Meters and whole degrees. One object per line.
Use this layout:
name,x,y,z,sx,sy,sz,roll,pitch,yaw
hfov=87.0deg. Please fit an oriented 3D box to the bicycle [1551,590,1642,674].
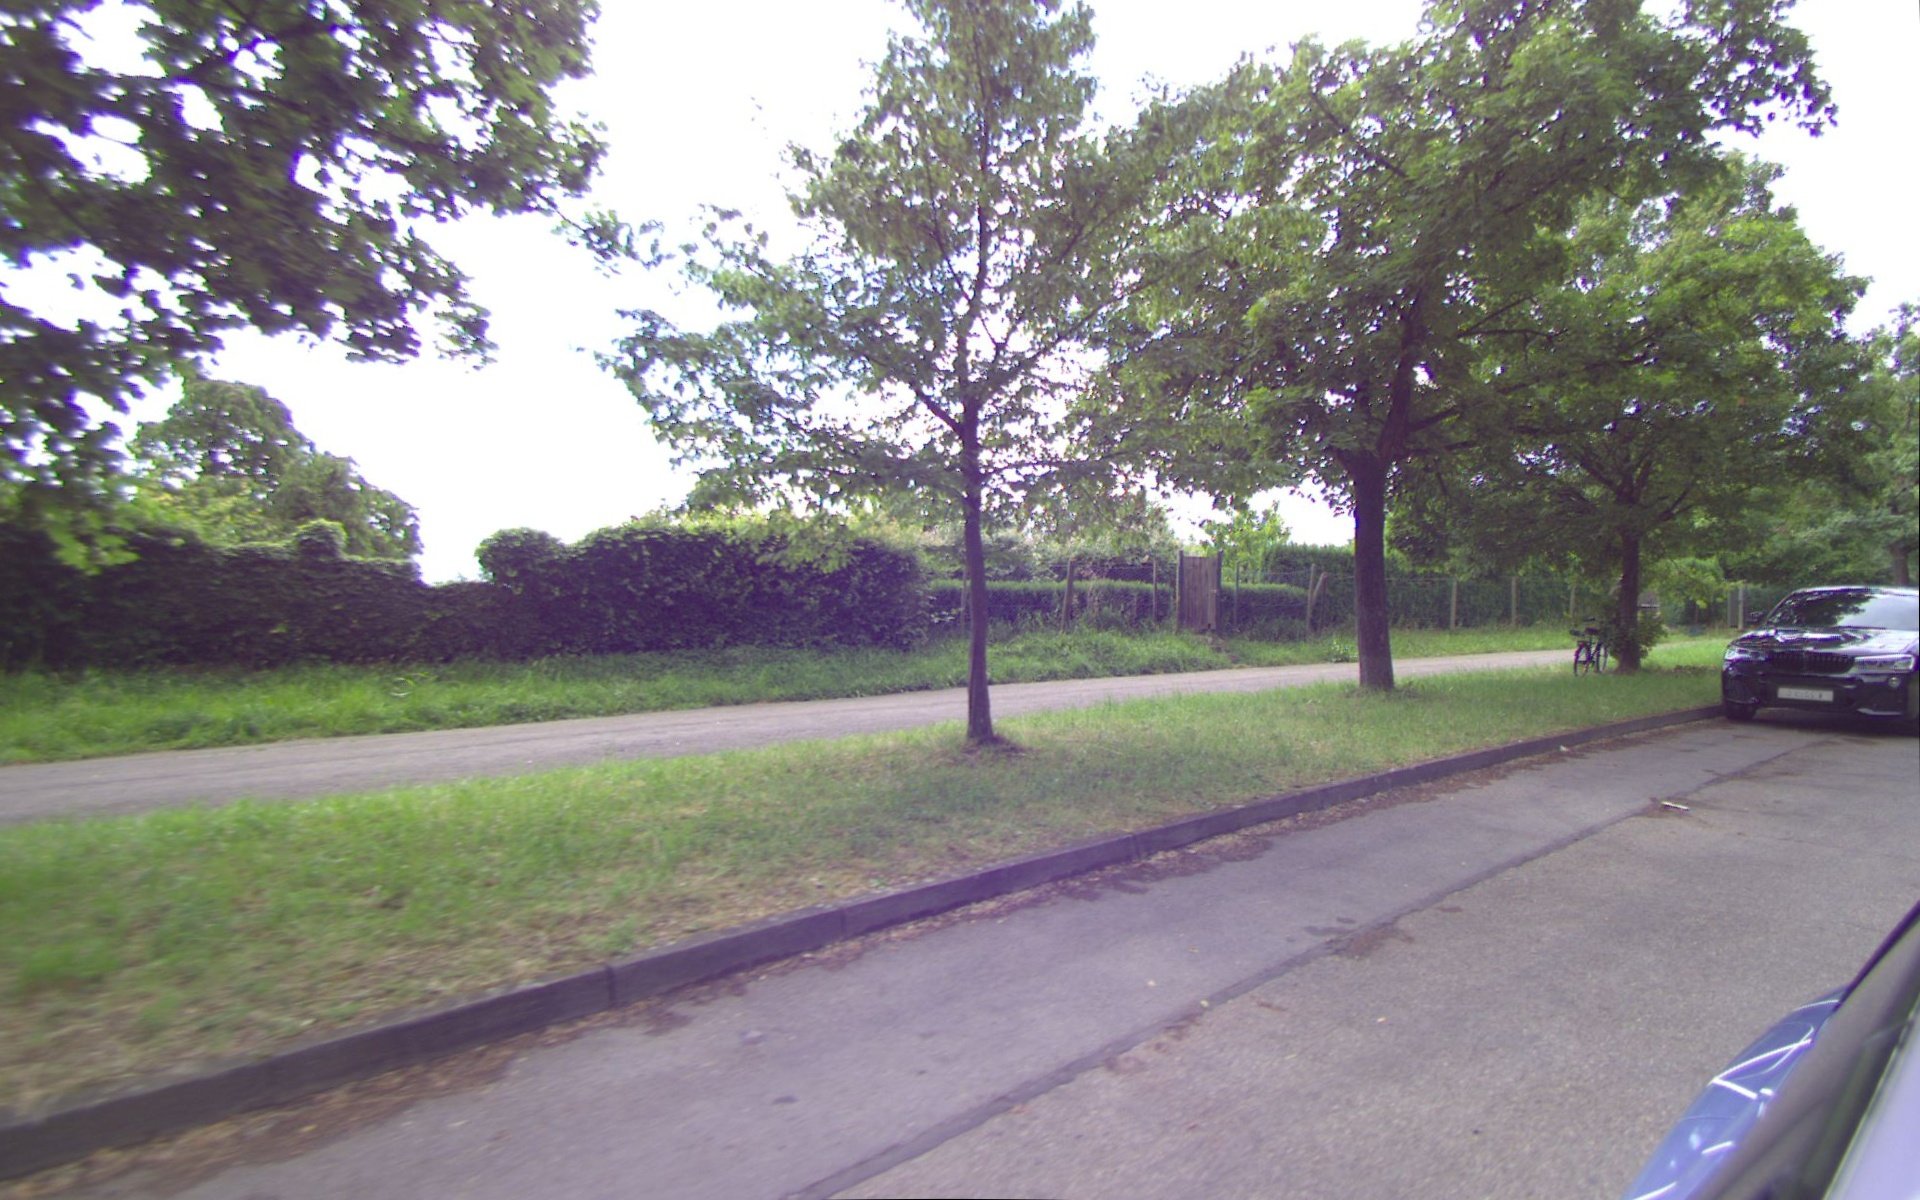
bicycle,10.515,0.494,16.697,2.145,1.230,0.535,-3,1,-38

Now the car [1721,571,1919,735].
car,11.054,0.508,12.211,4.447,1.663,1.853,0,1,-37
